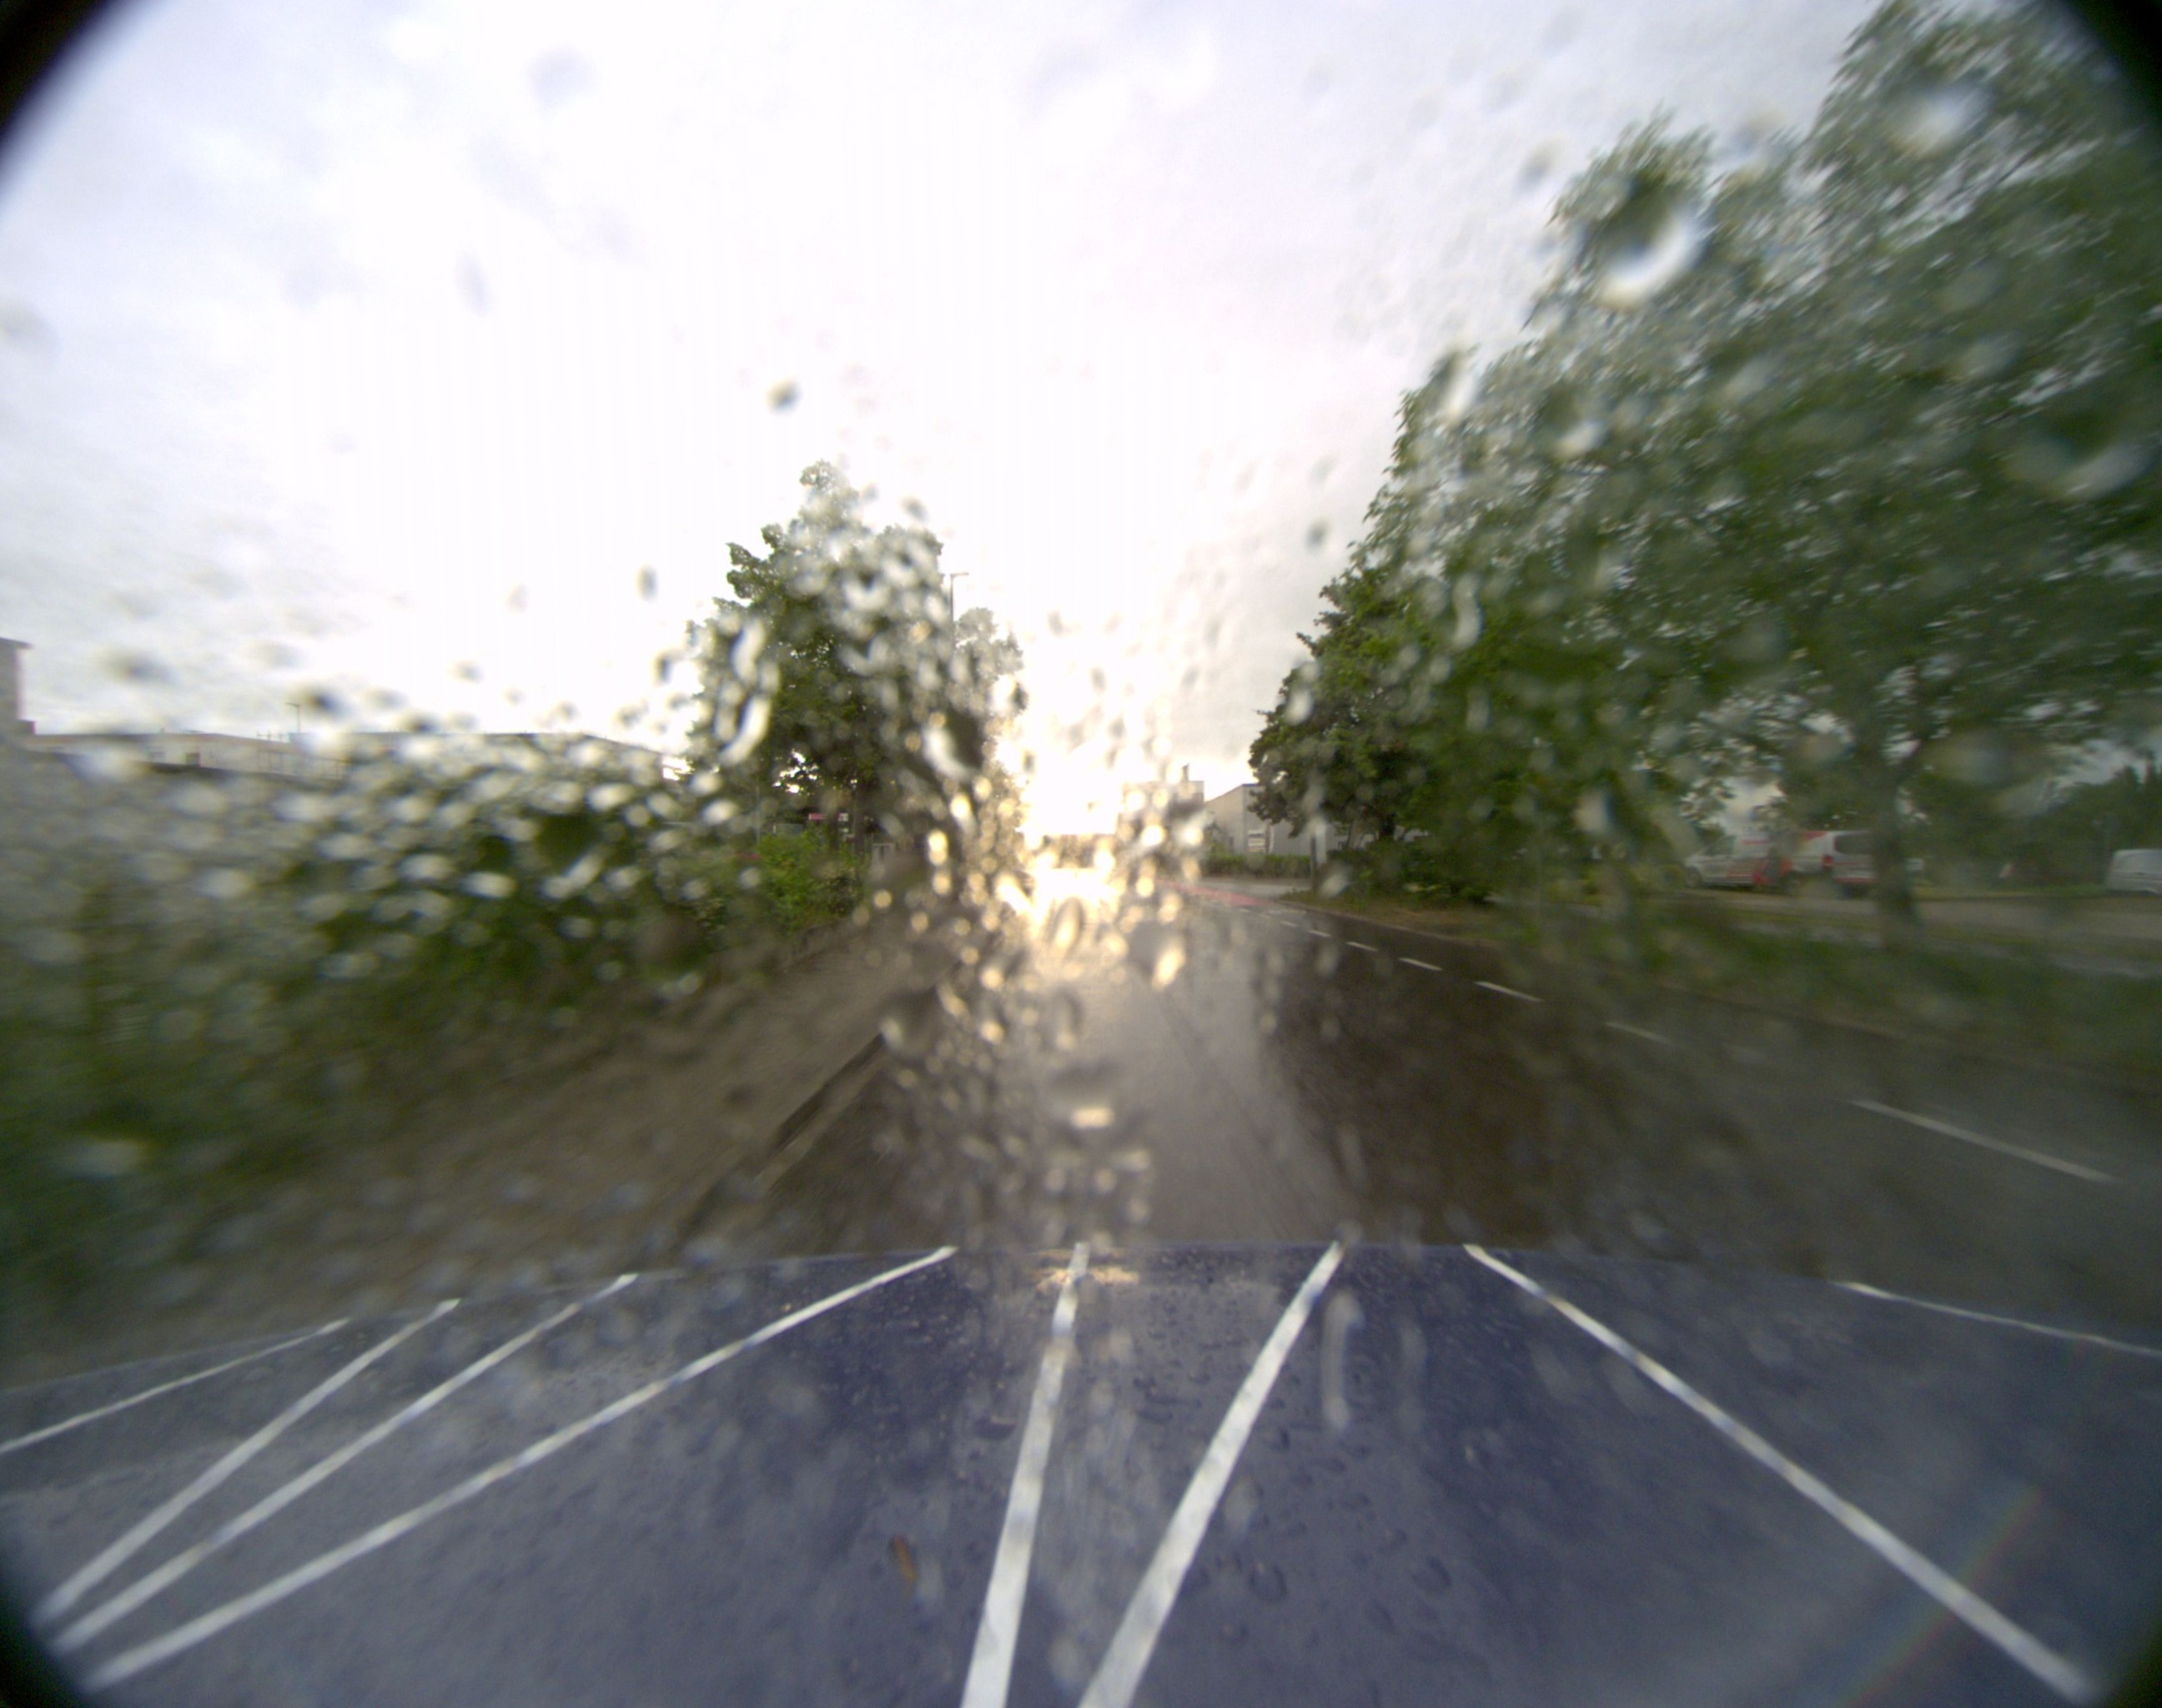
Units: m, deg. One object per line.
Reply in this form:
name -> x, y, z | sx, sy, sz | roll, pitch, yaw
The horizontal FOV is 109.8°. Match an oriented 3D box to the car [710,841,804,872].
car -> -16.071, 0.123, 37.785 | 3.890, 1.490, 1.768 | 0, 0, -1

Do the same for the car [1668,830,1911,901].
car -> 20.838, 0.315, 22.823 | 2.039, 1.811, 5.609 | -2, 0, 0

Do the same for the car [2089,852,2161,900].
car -> 29.596, 0.575, 19.223 | 1.986, 1.222, 4.657 | -2, 0, 0

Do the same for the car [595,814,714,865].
car -> -21.306, -0.691, 38.080 | 4.912, 2.424, 2.001 | 0, 0, 7

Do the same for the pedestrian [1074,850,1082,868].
pedestrian -> -0.321, 0.472, 78.124 | 0.747, 1.827, 0.889 | 0, 0, -7
